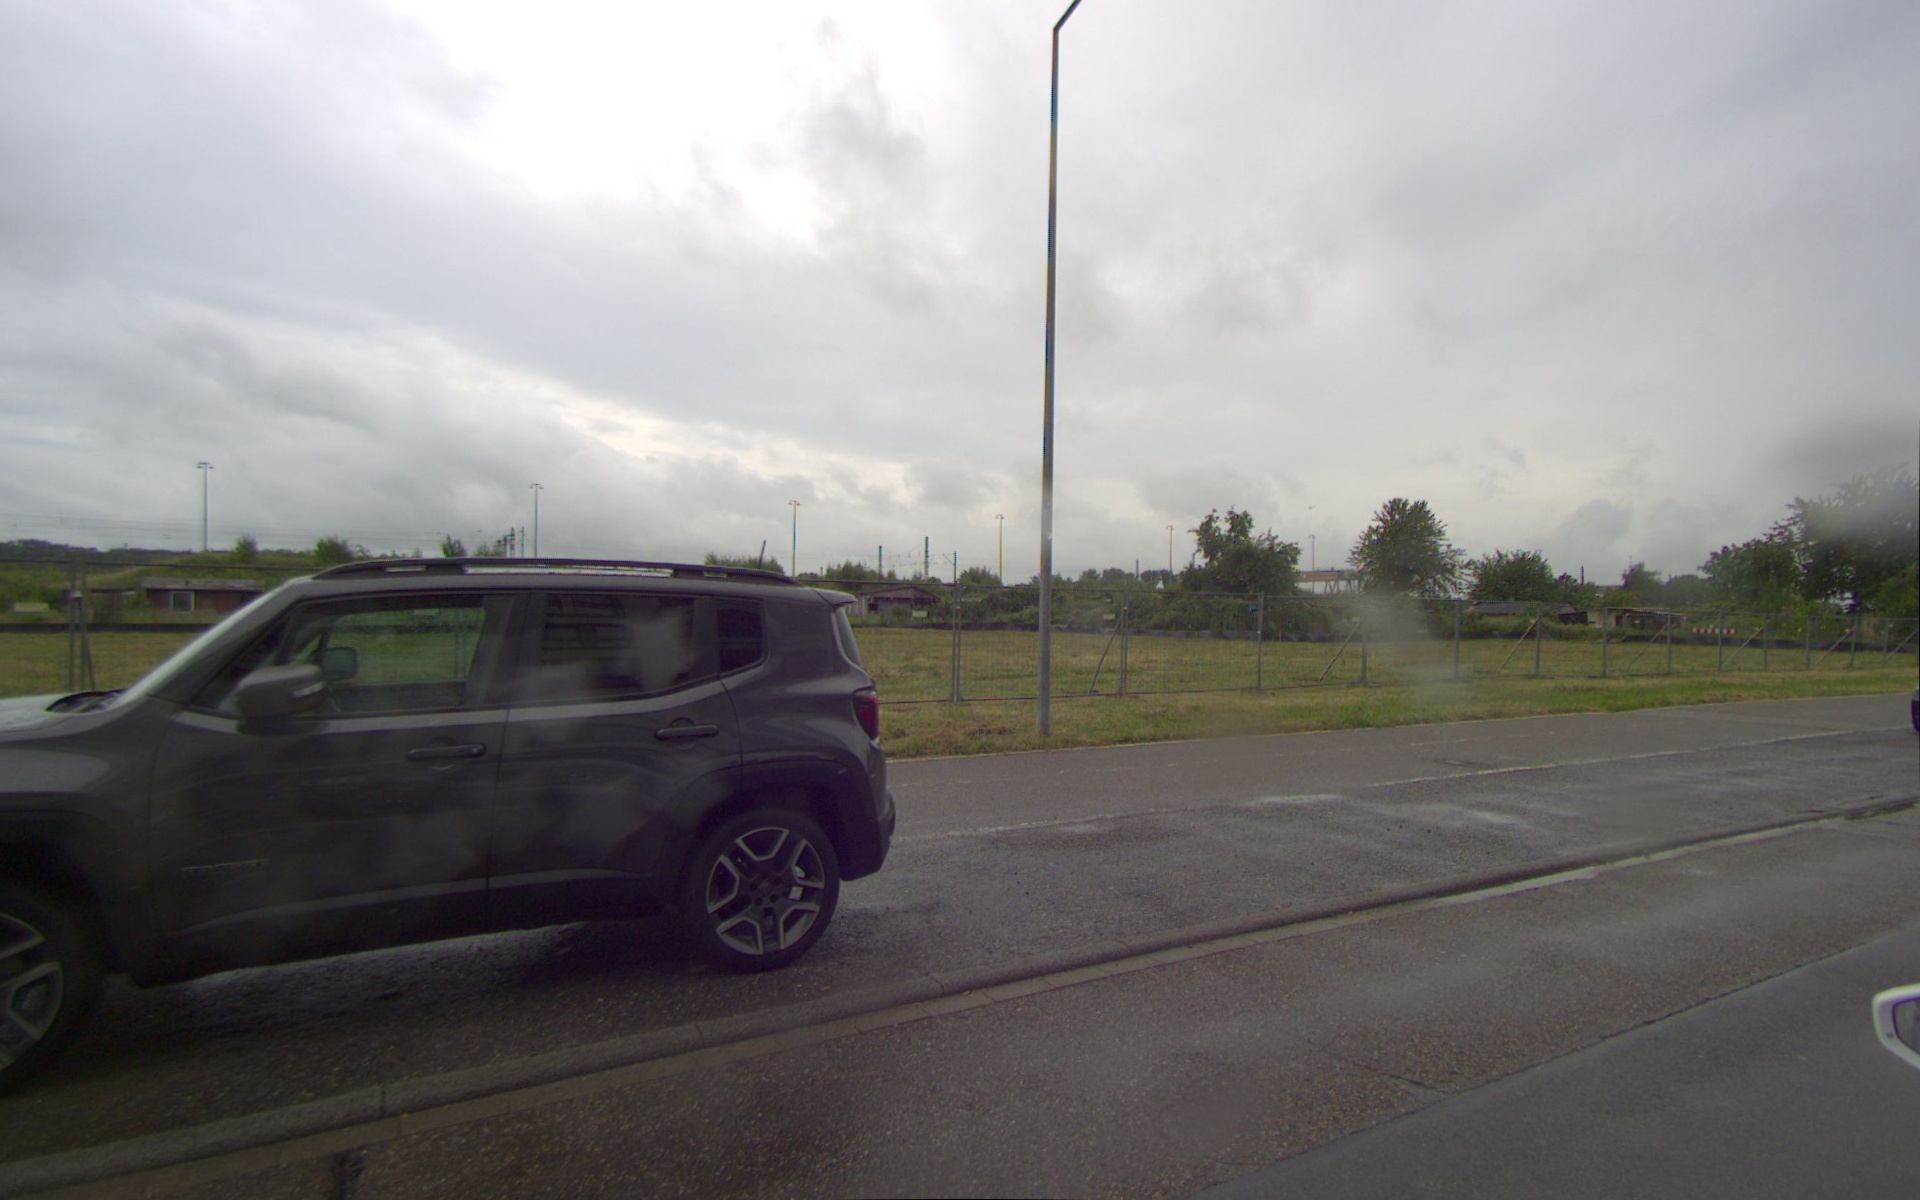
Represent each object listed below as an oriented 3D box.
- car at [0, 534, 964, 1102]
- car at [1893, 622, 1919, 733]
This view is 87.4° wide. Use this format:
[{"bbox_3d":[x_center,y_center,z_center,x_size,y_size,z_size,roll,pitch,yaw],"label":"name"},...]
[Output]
[{"bbox_3d":[-2.508,0.675,4.227,4.818,1.715,1.746,1,-1,-27],"label":"car"},{"bbox_3d":[15.910,1.176,14.936,4.103,1.582,1.838,1,1,-30],"label":"car"}]
